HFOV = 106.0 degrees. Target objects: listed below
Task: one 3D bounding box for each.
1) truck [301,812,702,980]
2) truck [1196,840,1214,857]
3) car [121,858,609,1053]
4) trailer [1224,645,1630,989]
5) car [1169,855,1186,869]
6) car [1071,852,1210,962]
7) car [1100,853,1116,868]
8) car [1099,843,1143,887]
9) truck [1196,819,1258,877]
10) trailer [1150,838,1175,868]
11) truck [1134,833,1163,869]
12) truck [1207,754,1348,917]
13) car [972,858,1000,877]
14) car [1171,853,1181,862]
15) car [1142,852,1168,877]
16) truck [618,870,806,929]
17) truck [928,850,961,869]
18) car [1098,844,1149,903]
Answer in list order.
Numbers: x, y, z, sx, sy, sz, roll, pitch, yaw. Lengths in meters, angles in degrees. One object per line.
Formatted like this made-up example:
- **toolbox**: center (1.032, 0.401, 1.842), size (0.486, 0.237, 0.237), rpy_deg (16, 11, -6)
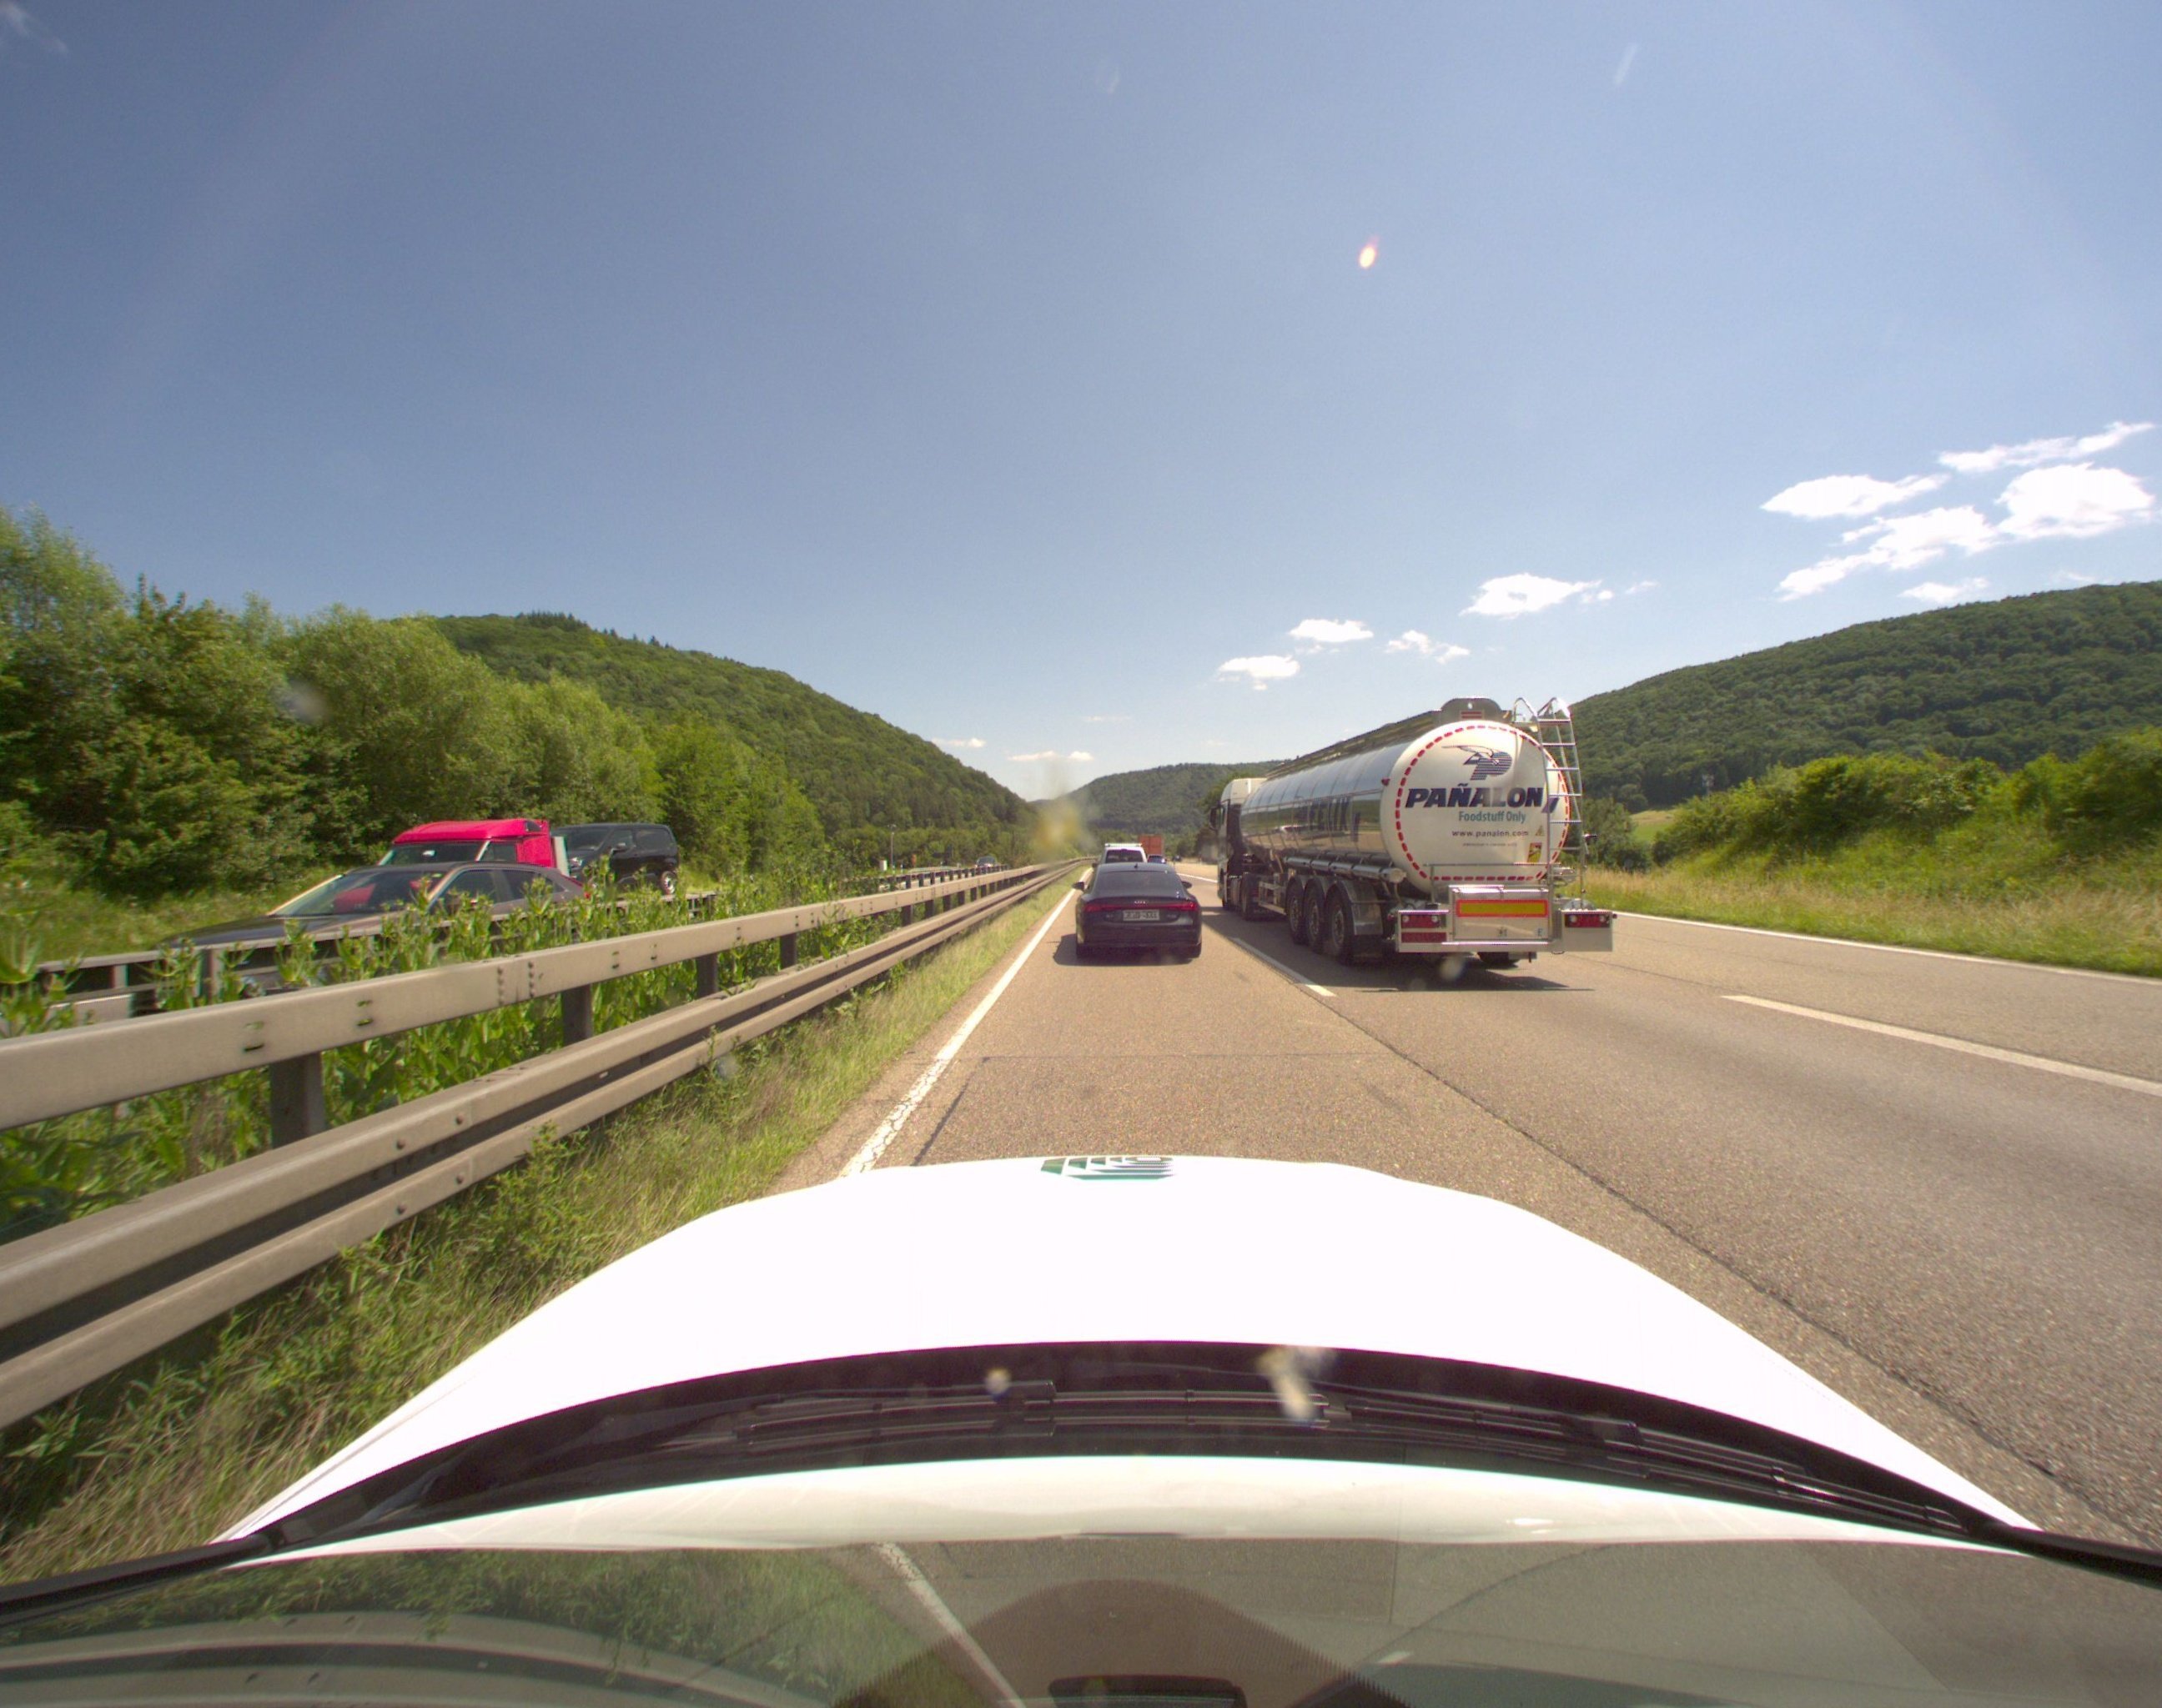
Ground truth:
- **truck**: center (-10.901, 0.659, 16.689), size (2.287, 2.588, 7.971), rpy_deg (-1, 0, 2)
- **truck**: center (32.634, -1.356, 214.001), size (3.769, 4.414, 15.003), rpy_deg (-1, 0, 12)
- **car**: center (-7.274, 0.878, 8.958), size (1.771, 1.599, 4.000), rpy_deg (-1, 0, 0)
- **trailer**: center (4.828, -0.404, 14.855), size (2.529, 3.735, 11.894), rpy_deg (-1, 0, 1)
- **car**: center (11.152, 0.929, 94.199), size (1.740, 1.530, 4.004), rpy_deg (-1, 0, 3)
- **car**: center (0.803, 0.731, 13.262), size (1.844, 1.488, 4.080), rpy_deg (-1, 0, -2)
- **car**: center (3.089, 0.720, 93.255), size (1.705, 1.618, 4.003), rpy_deg (-2, 0, 3)
- **car**: center (1.903, 0.501, 39.417), size (1.986, 2.013, 4.001), rpy_deg (-1, 0, 1)
- **truck**: center (11.209, -0.444, 64.031), size (2.806, 4.003, 14.964), rpy_deg (-1, 0, 3)
- **trailer**: center (12.711, -0.170, 127.406), size (3.004, 4.382, 10.988), rpy_deg (-1, 0, 1)
- **truck**: center (7.949, -0.348, 97.609), size (2.806, 4.003, 14.964), rpy_deg (-1, 0, 3)
- **truck**: center (4.965, -0.426, 21.522), size (2.502, 3.758, 5.246), rpy_deg (-1, 0, 1)
- **car**: center (-8.882, 1.254, 76.175), size (1.915, 1.621, 4.563), rpy_deg (-1, 0, 2)
- **car**: center (22.056, 0.778, 189.297), size (1.982, 2.013, 4.010), rpy_deg (-1, 0, 9)
- **car**: center (6.197, 0.861, 68.945), size (1.985, 2.002, 4.003), rpy_deg (-2, 0, 3)
- **truck**: center (-10.579, 1.240, 24.229), size (2.201, 1.333, 7.012), rpy_deg (-1, 0, 2)
- **truck**: center (-20.776, 0.816, 124.502), size (3.569, 2.695, 8.448), rpy_deg (-1, 0, 0)
- **car**: center (1.394, 0.600, 27.607), size (1.570, 1.833, 4.001), rpy_deg (-1, 0, 2)
